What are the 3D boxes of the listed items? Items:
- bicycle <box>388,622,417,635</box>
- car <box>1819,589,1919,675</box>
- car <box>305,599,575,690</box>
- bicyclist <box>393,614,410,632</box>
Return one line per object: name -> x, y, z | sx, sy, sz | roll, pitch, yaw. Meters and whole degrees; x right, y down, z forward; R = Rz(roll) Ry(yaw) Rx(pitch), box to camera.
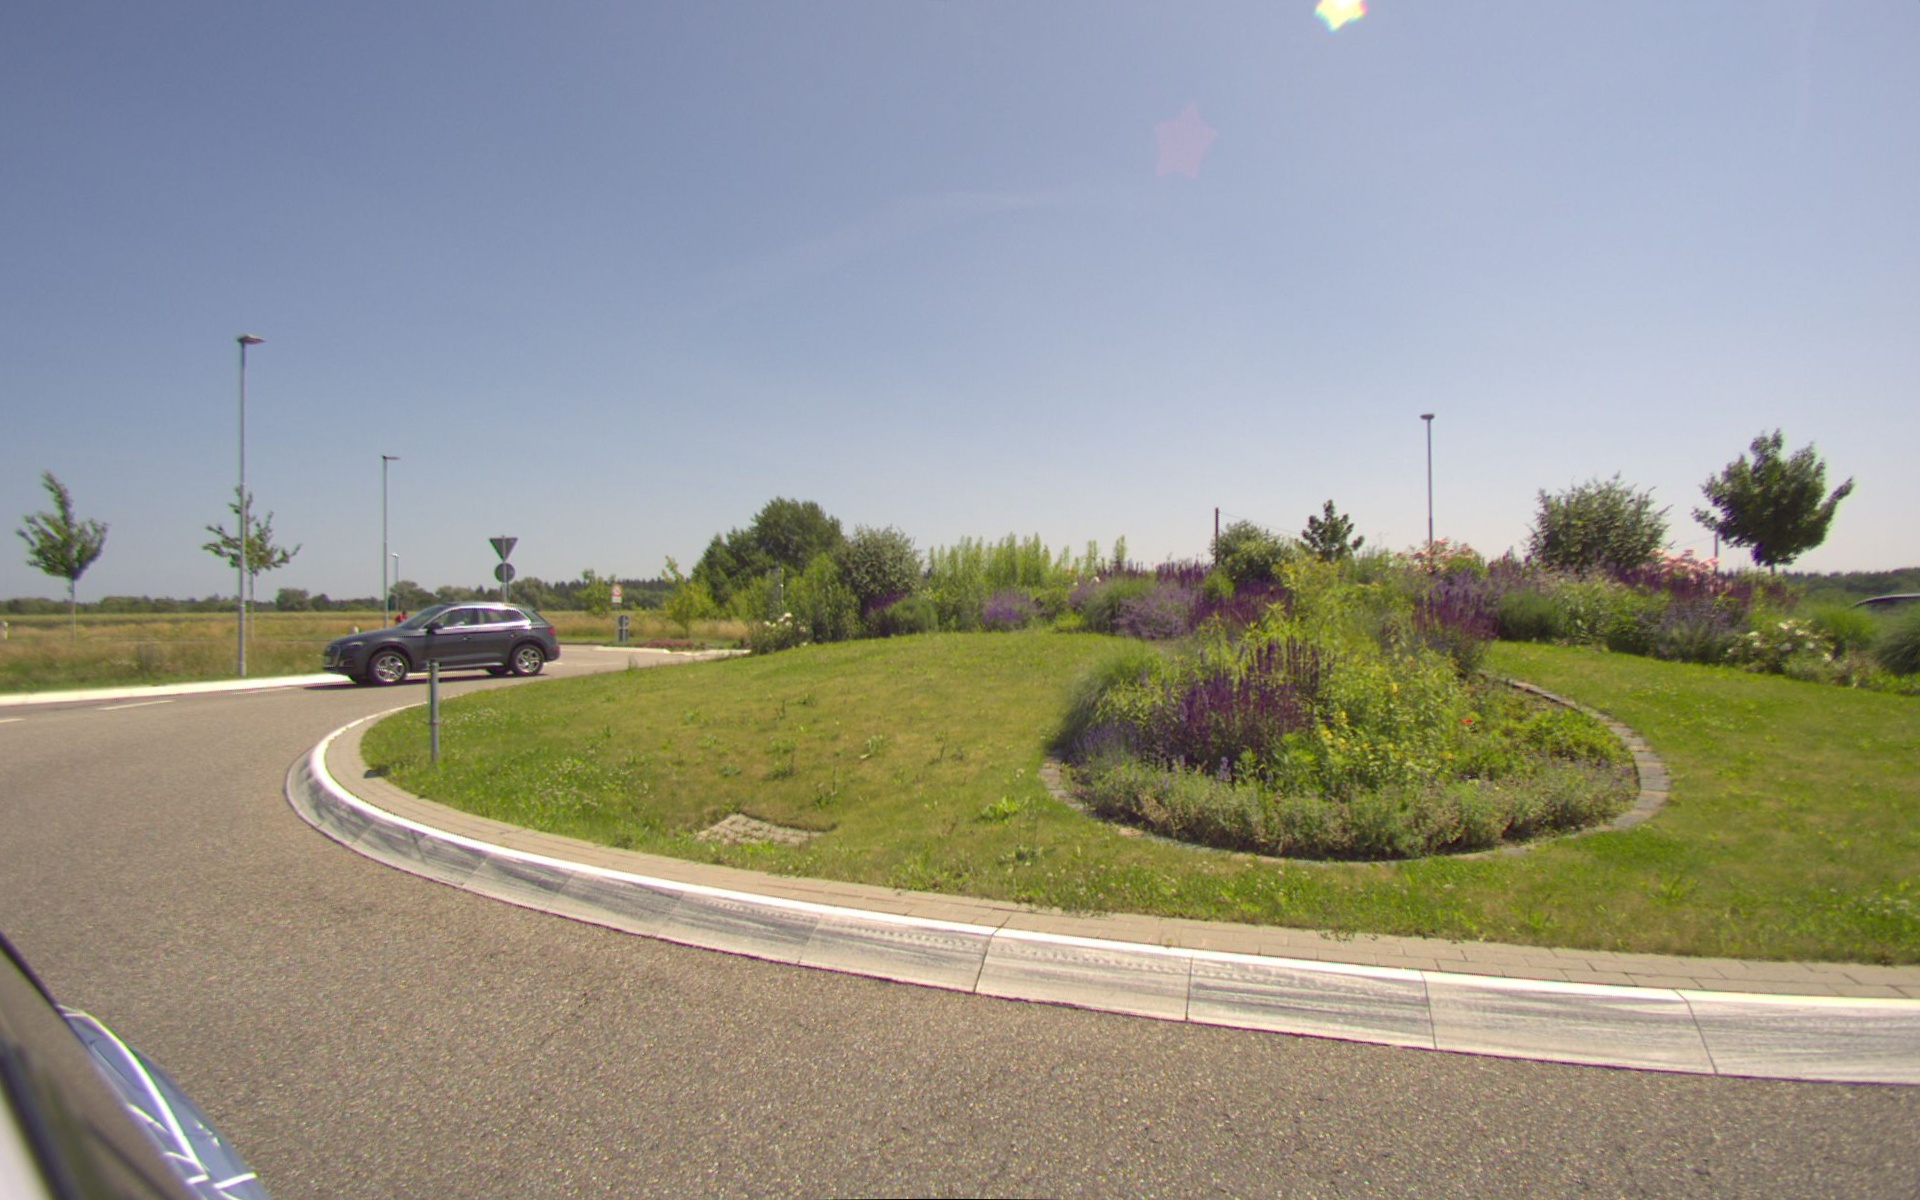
bicycle -> -34.036, 1.742, 61.804 | 1.451, 0.735, 0.579 | -1, -1, 3
car -> 19.559, 0.617, 19.980 | 1.754, 1.686, 3.998 | -1, -1, 1
car -> -11.172, 0.881, 22.010 | 1.954, 1.661, 4.819 | -2, 0, 44
bicyclist -> -34.113, 1.425, 61.822 | 0.715, 1.087, 0.579 | -1, -1, 3
